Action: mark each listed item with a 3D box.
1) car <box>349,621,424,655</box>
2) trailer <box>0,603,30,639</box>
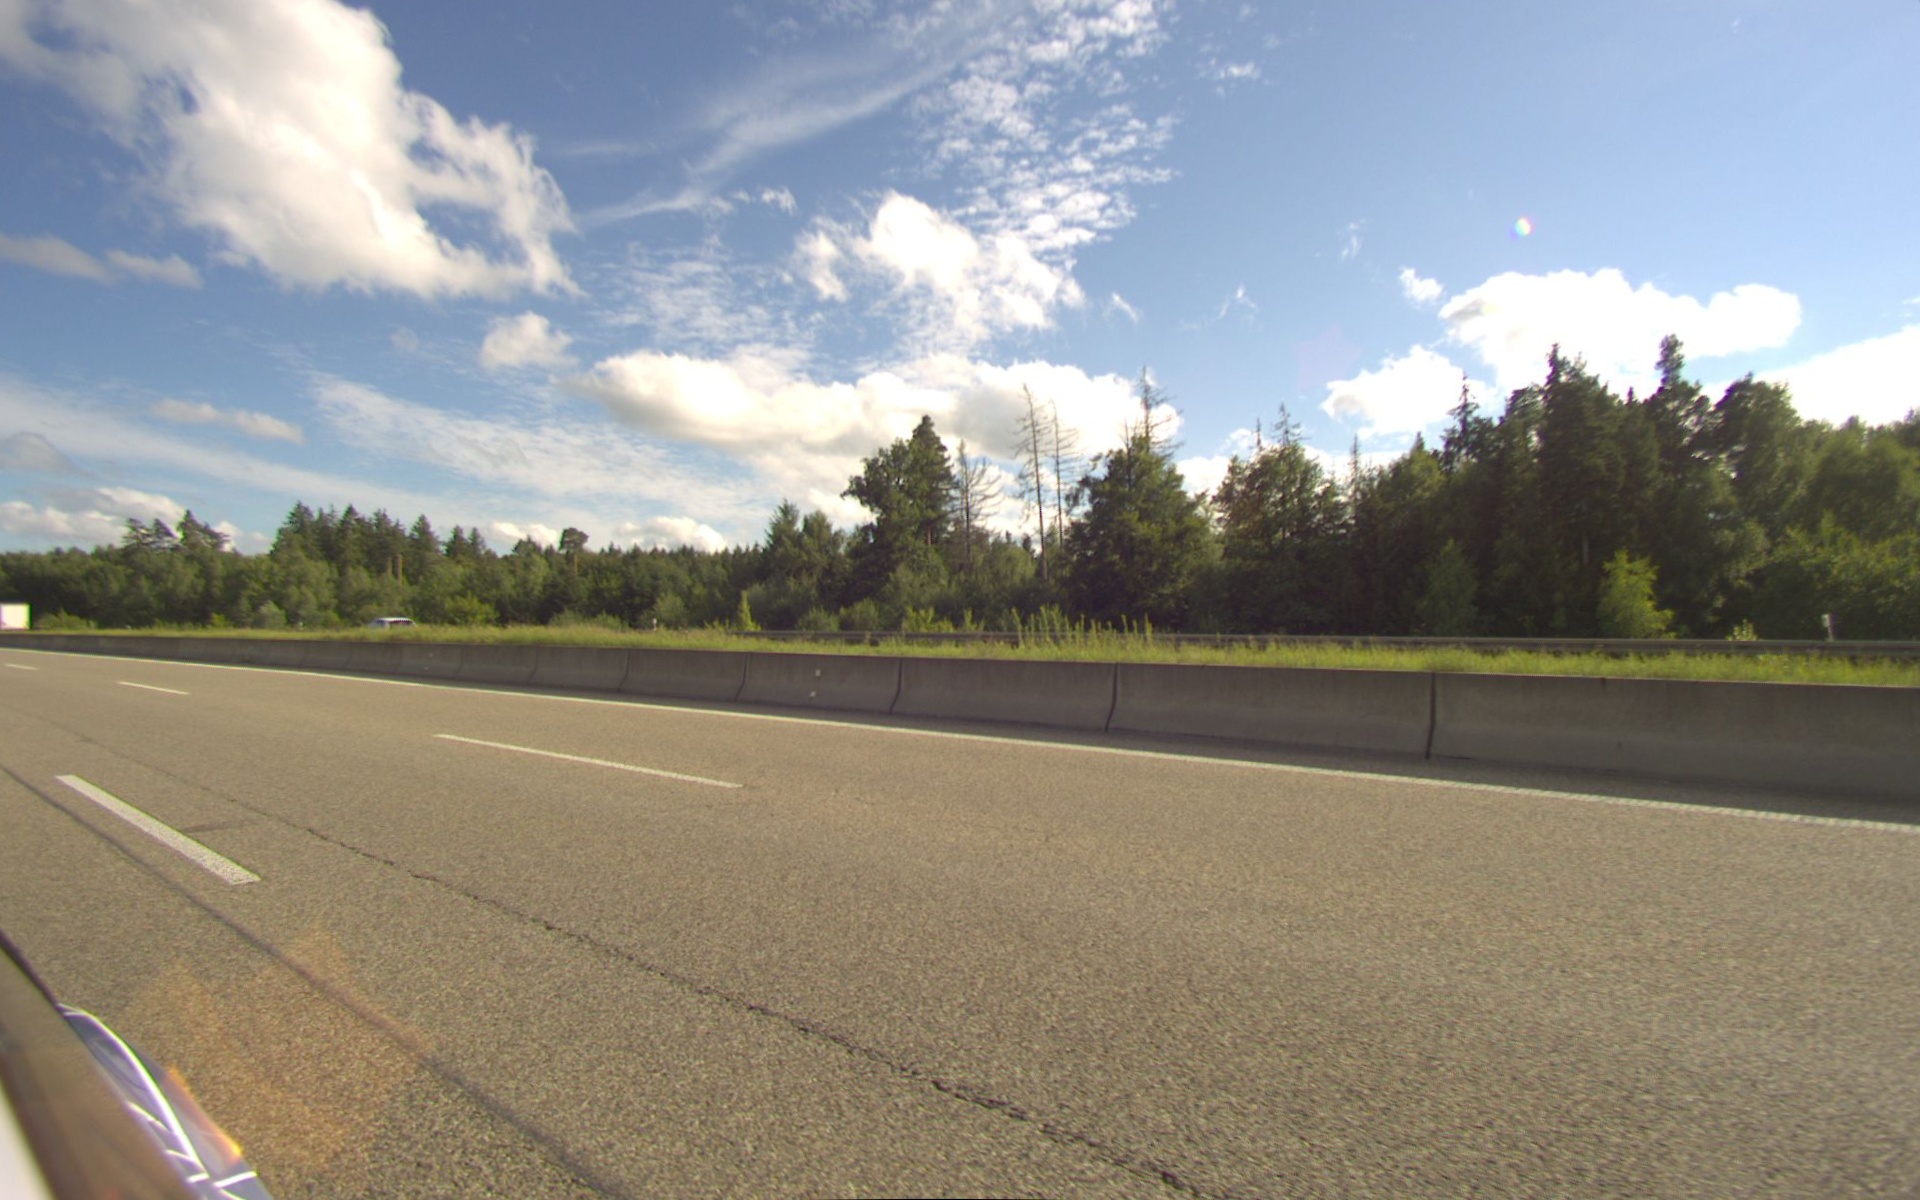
[{"bbox_3d":[-26.654,1.748,47.005,3.998,1.468,1.822,-2,-1,41],"label":"car"},{"bbox_3d":[-115.472,2.549,122.074,12.776,4.140,2.992,-2,-1,39],"label":"trailer"}]
